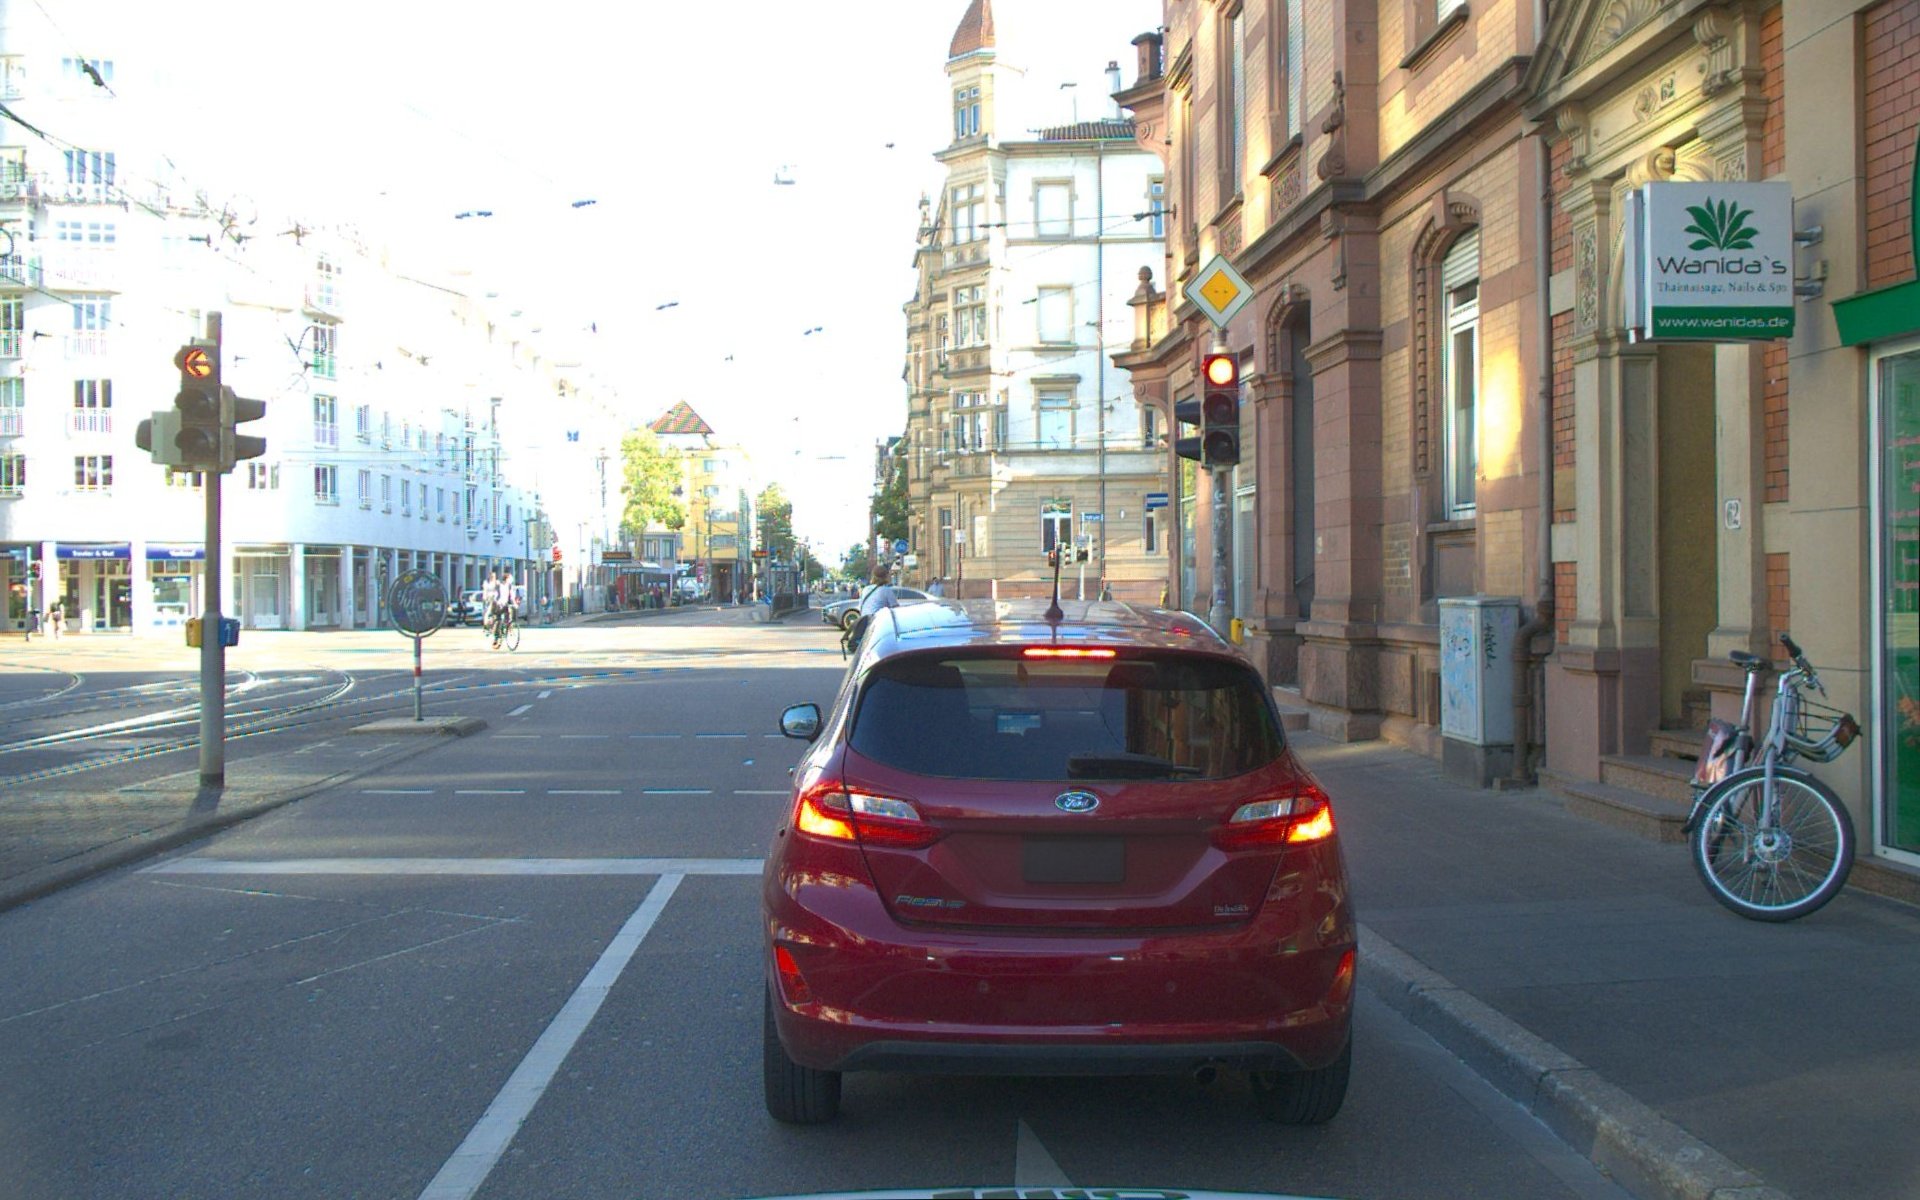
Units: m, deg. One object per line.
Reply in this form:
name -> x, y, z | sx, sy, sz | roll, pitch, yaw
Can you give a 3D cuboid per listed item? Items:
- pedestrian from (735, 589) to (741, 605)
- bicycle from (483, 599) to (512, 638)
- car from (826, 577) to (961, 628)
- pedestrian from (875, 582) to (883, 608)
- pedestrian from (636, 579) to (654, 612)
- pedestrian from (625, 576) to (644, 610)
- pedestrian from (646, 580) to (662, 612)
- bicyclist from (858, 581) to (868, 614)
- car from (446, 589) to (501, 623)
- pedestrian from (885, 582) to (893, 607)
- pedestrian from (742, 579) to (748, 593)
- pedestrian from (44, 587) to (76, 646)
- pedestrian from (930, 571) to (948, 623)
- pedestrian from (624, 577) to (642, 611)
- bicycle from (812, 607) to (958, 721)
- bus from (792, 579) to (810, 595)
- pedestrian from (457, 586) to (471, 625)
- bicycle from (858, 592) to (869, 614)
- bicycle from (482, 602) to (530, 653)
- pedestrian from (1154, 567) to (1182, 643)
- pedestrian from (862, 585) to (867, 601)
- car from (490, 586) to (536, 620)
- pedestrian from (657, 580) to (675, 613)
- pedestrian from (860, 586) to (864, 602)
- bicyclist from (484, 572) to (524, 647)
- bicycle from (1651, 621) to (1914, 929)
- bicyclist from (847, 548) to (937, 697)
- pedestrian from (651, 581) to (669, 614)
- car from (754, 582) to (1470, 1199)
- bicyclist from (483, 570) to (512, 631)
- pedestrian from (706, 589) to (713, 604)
pedestrian -> -21.866, -0.308, 162.876 | 0.513, 1.514, 0.582 | -1, 0, -2
bicycle -> -14.479, 0.559, 51.749 | 0.795, 1.167, 2.000 | -1, 0, -18
car -> -2.294, 0.075, 56.588 | 4.367, 1.669, 1.698 | -1, 0, -13
pedestrian -> -6.562, -0.421, 133.709 | 0.565, 2.049, 0.631 | -1, 0, 2
pedestrian -> -19.909, -0.279, 104.597 | 1.025, 2.049, 0.958 | -1, 0, -6
pedestrian -> -20.153, -0.442, 102.531 | 1.025, 2.049, 0.958 | -1, 0, -6
pedestrian -> -19.956, -0.267, 107.798 | 0.937, 2.049, 1.047 | -1, 0, -6
bicyclist -> -5.104, -0.144, 87.067 | 0.489, 1.705, 0.545 | -1, 0, -2
car -> -23.361, 0.282, 79.459 | 1.730, 1.573, 3.459 | -1, 0, -3
pedestrian -> -5.755, -0.465, 133.839 | 0.565, 2.049, 0.631 | -1, 0, 2
pedestrian -> -25.552, -1.638, 196.413 | 0.619, 1.632, 0.575 | -1, 0, -20
pedestrian -> -31.793, 0.585, 58.426 | 0.934, 2.049, 0.930 | -1, 0, -31
pedestrian -> -0.823, -0.117, 64.807 | 0.638, 2.049, 0.759 | -1, 0, -4
pedestrian -> -19.800, -0.387, 100.178 | 0.937, 2.049, 1.048 | -1, 0, -4
bicycle -> -0.826, 0.693, 18.806 | 0.615, 1.198, 2.019 | 1, 1, 32
bus -> -20.806, -1.666, 216.786 | 1.887, 2.049, 7.134 | -1, 0, -2
pedestrian -> -21.845, 0.257, 72.826 | 0.514, 1.711, 0.485 | -1, 0, -11
bicycle -> -5.109, 0.160, 87.281 | 0.515, 1.108, 1.486 | -1, 0, -1
bicycle -> -10.859, 0.651, 39.512 | 0.797, 1.167, 2.034 | -1, 0, -24
pedestrian -> 4.969, 0.108, 39.551 | 0.549, 1.786, 0.650 | -1, 0, -1
pedestrian -> -11.565, -0.810, 200.107 | 0.565, 1.920, 0.630 | -1, 0, -3
car -> -23.635, 0.142, 87.582 | 1.667, 1.748, 3.561 | -1, 0, -4
pedestrian -> -18.777, -0.229, 105.541 | 1.025, 2.049, 0.958 | -1, 0, -6
pedestrian -> -12.083, -0.759, 203.762 | 0.565, 1.920, 0.669 | -1, 0, -3
bicyclist -> -10.958, 0.220, 39.716 | 0.797, 1.756, 0.788 | -1, 0, -25
bicycle -> 3.638, 0.720, 7.457 | 0.700, 1.172, 1.656 | -2, 0, 15
bicyclist -> -0.774, 0.248, 18.887 | 0.749, 1.655, 0.730 | 1, 0, 33
pedestrian -> -18.656, -0.167, 102.892 | 1.025, 2.049, 0.958 | -1, 0, -6
car -> 0.205, 0.706, 5.916 | 1.720, 1.492, 3.941 | 1, 0, -5
bicyclist -> -14.418, 0.017, 51.552 | 0.795, 1.853, 0.988 | -1, 0, -18
pedestrian -> -25.184, -0.388, 166.191 | 0.569, 1.514, 0.525 | -1, 0, -5
